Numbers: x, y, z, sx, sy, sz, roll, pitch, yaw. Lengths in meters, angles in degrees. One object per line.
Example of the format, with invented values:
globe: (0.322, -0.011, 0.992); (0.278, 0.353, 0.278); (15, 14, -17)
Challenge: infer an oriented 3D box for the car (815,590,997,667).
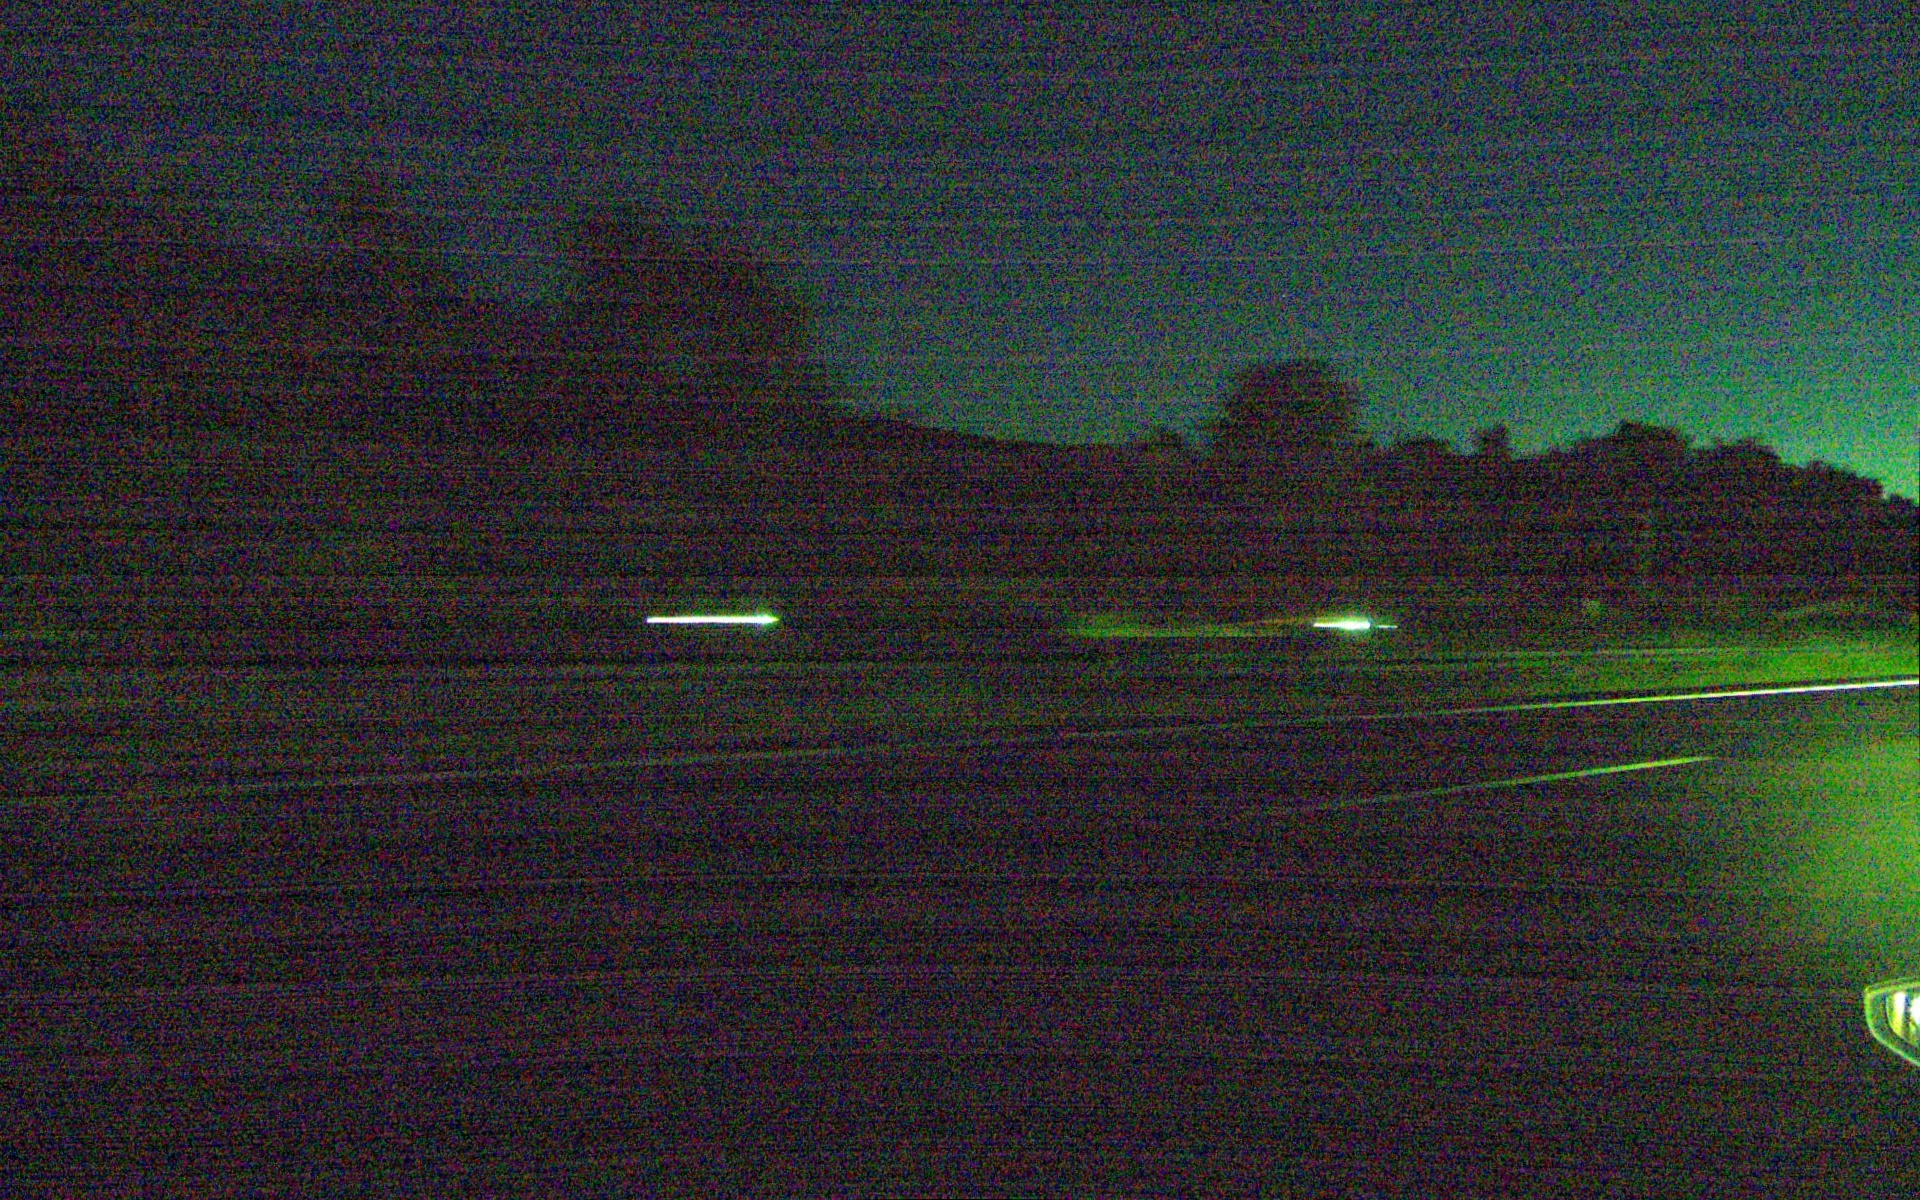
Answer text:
car: (-1.423, 0.747, 26.863); (4.456, 1.901, 1.918); (1, 0, -28)
